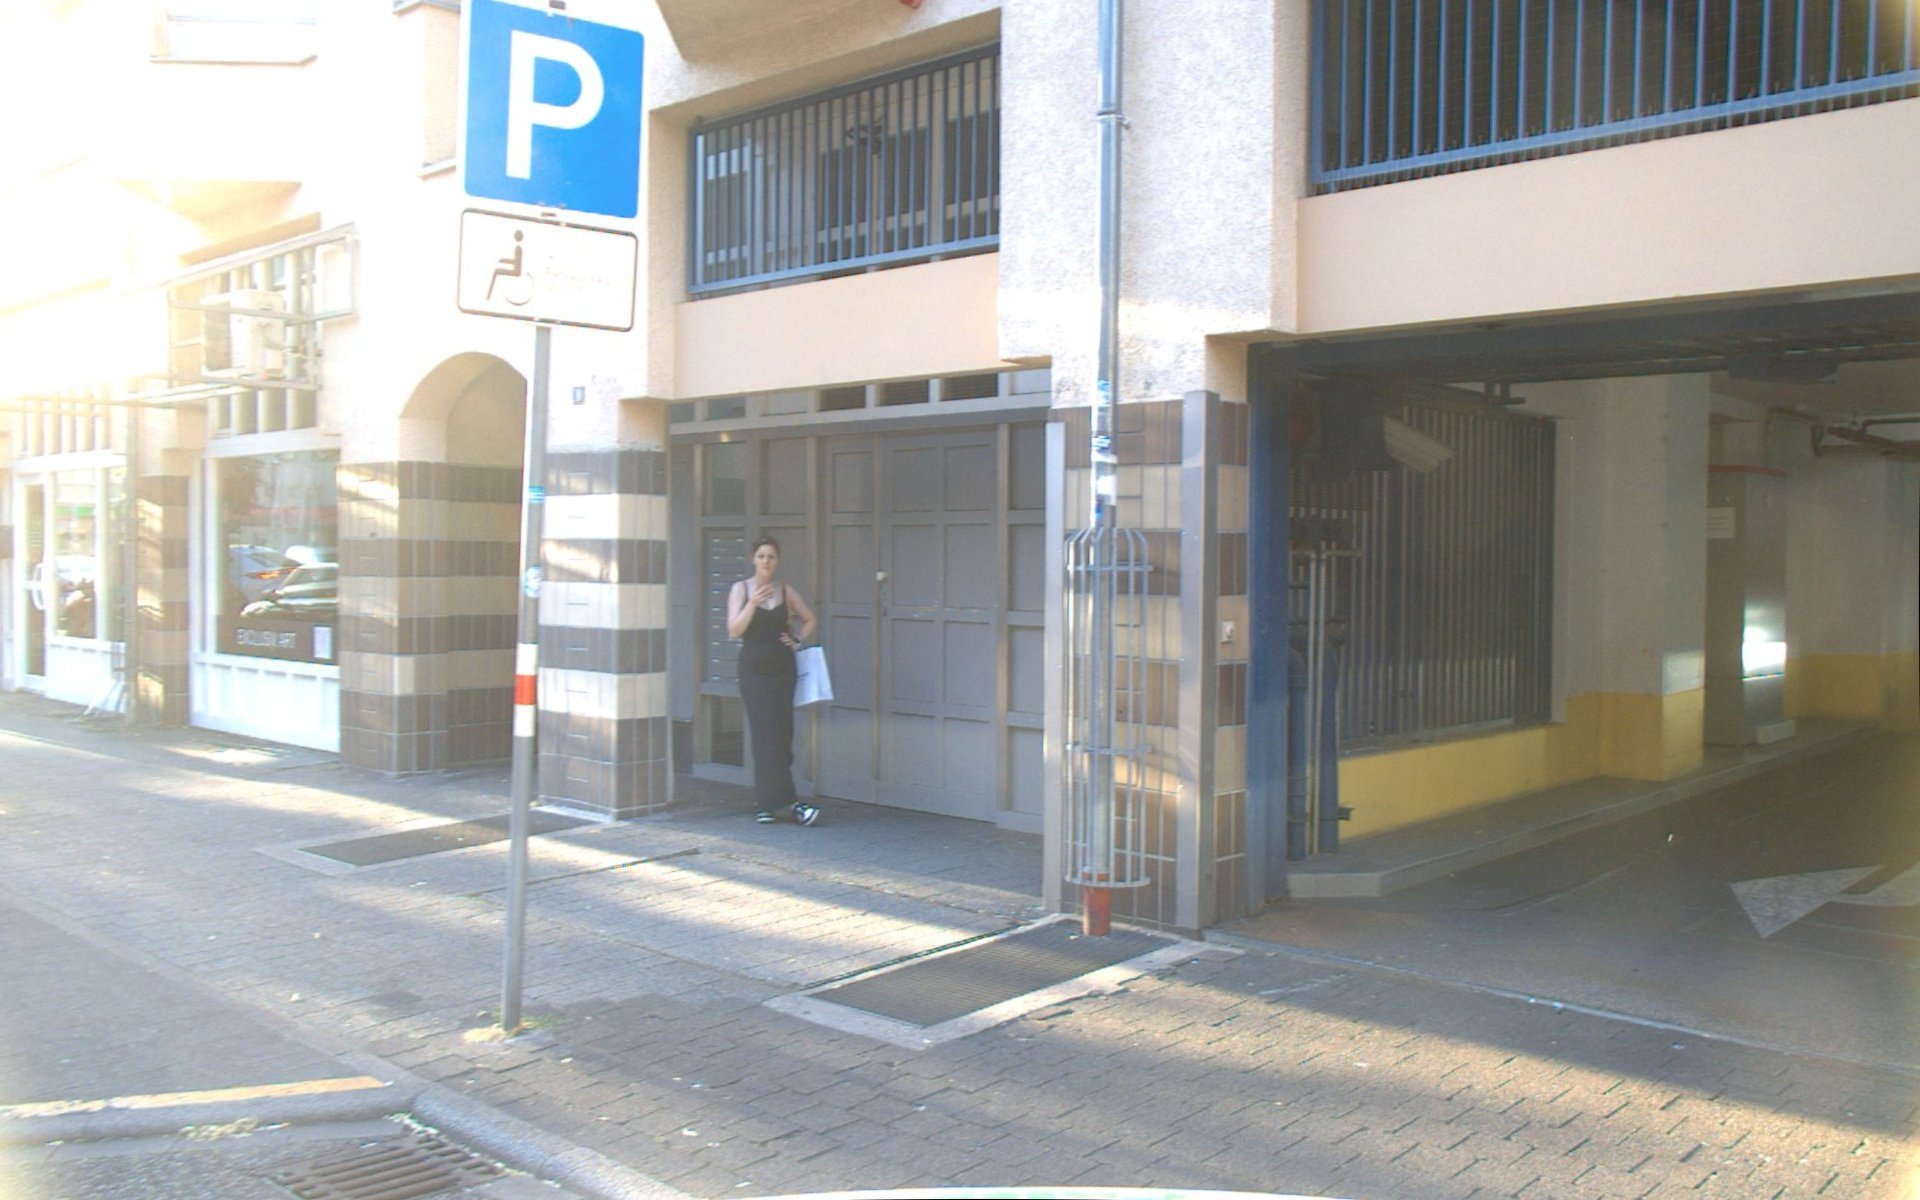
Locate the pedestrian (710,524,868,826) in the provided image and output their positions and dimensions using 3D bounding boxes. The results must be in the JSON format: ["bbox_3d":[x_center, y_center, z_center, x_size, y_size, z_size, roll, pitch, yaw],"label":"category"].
[{"bbox_3d":[-0.952,0.391,9.138,0.764,1.599,0.531,0,1,-20],"label":"pedestrian"}]
